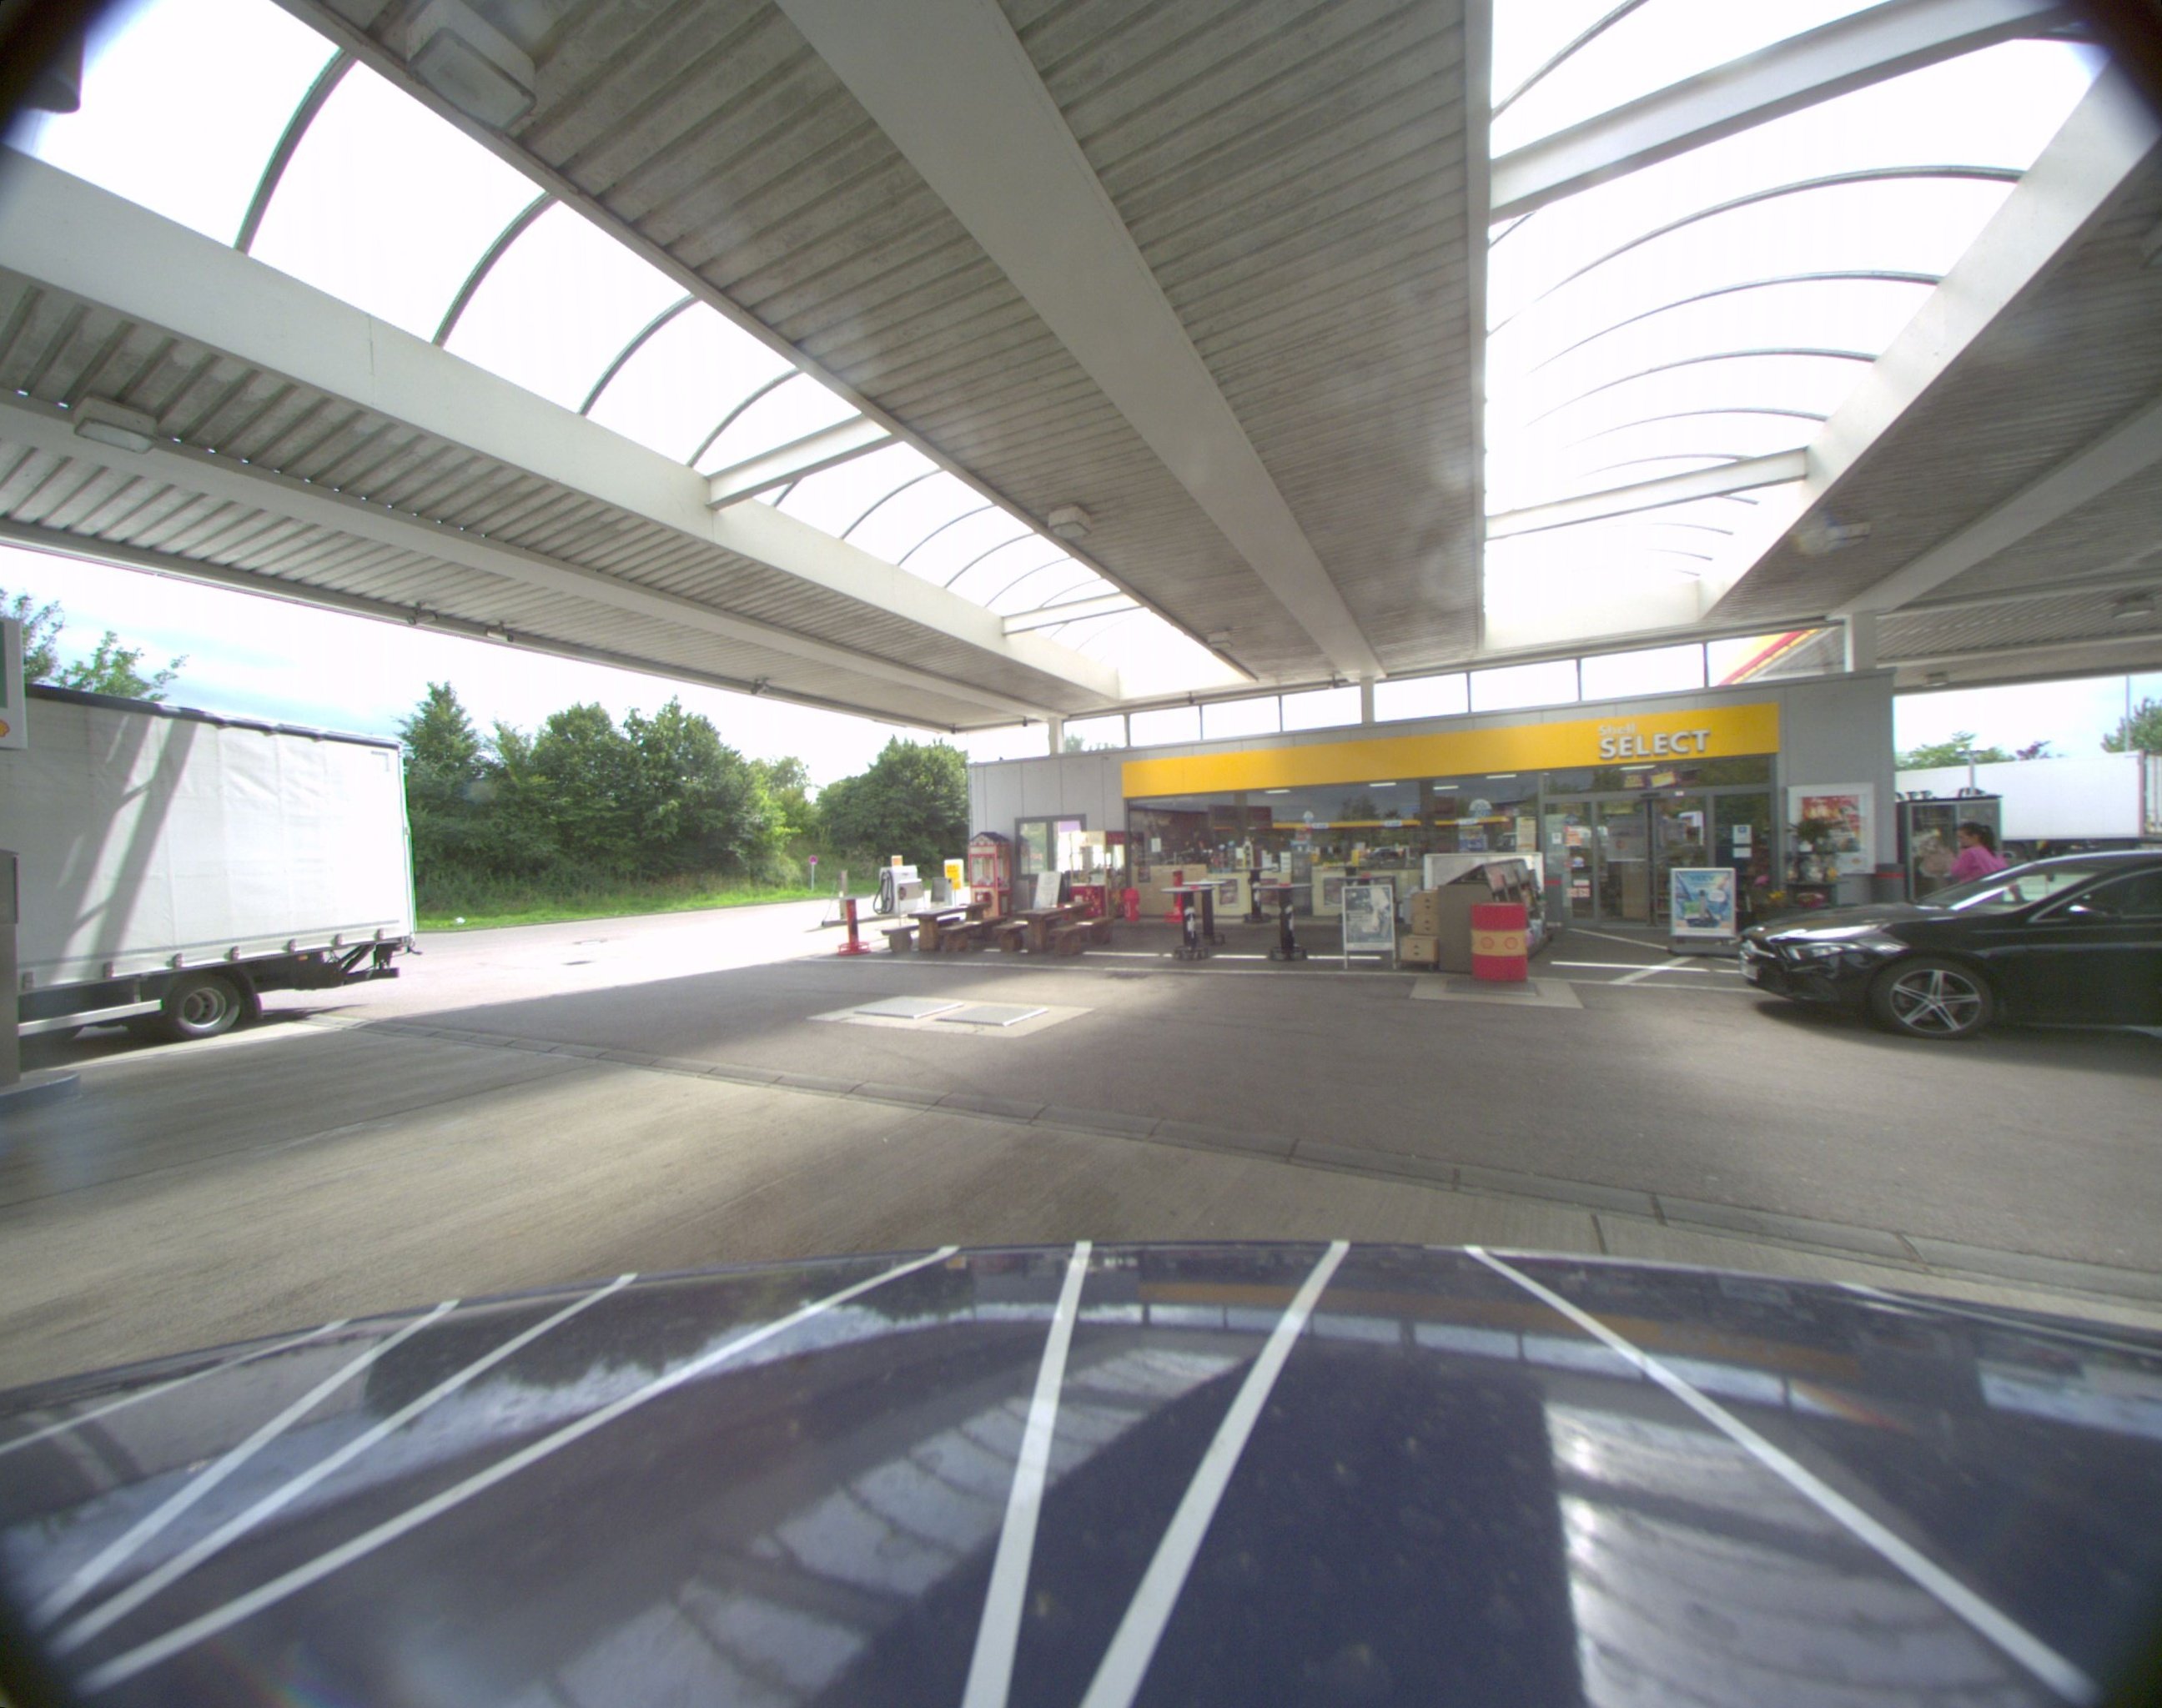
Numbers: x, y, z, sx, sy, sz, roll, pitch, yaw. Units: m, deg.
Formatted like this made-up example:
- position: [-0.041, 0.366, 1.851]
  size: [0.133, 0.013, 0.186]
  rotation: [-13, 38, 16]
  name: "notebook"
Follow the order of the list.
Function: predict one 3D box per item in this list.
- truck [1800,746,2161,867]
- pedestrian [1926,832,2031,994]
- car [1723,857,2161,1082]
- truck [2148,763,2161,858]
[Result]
- position: [35.121, -1.608, 30.059]
  size: [2.796, 3.982, 9.578]
  rotation: [-2, 1, -16]
  name: "truck"
- position: [9.915, 0.621, 8.421]
  size: [0.621, 1.703, 0.628]
  rotation: [-1, 1, 38]
  name: "pedestrian"
- position: [8.138, 0.814, 5.950]
  size: [4.461, 1.491, 1.782]
  rotation: [-2, 1, 28]
  name: "car"
- position: [51.470, -2.033, 33.138]
  size: [3.383, 4.479, 6.239]
  rotation: [-2, 1, 29]
  name: "truck"
